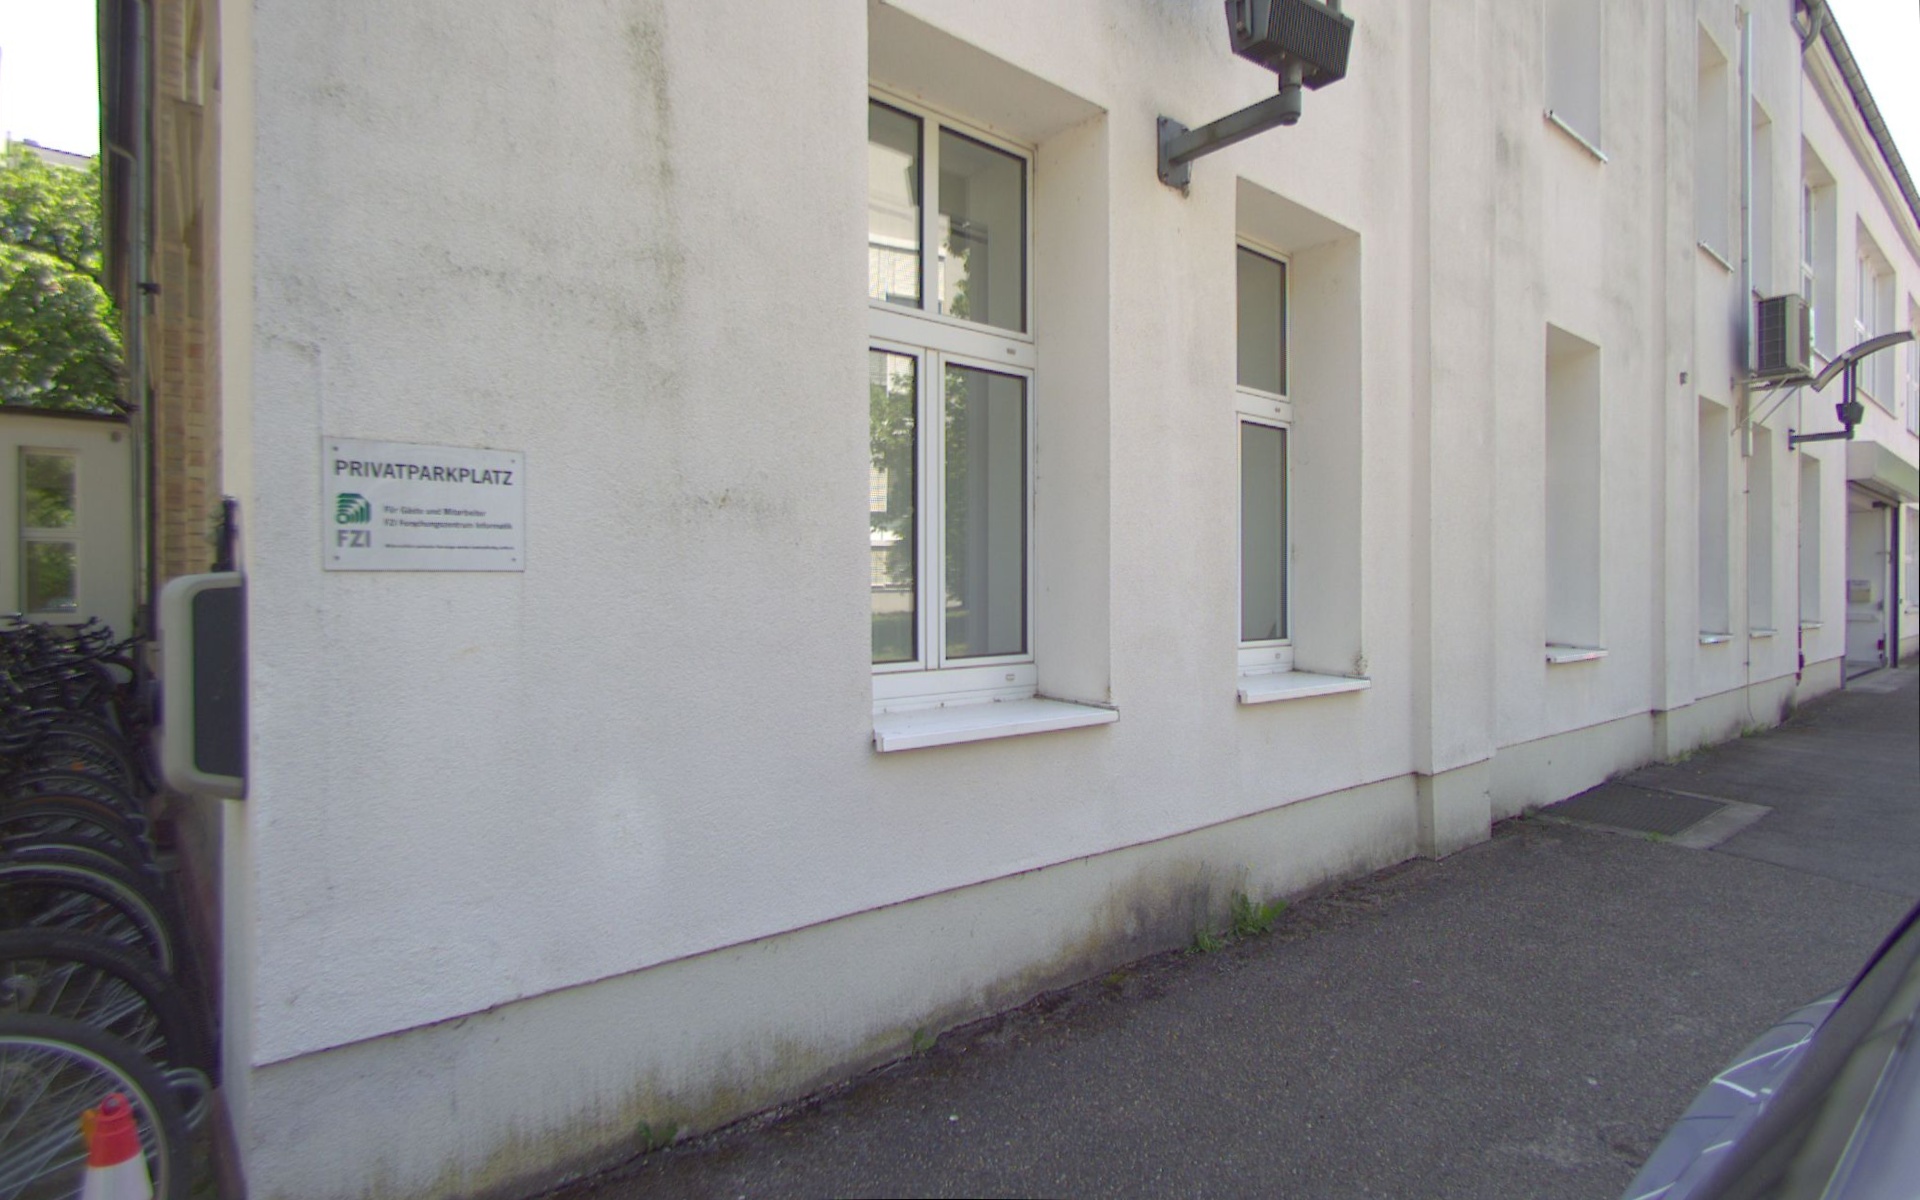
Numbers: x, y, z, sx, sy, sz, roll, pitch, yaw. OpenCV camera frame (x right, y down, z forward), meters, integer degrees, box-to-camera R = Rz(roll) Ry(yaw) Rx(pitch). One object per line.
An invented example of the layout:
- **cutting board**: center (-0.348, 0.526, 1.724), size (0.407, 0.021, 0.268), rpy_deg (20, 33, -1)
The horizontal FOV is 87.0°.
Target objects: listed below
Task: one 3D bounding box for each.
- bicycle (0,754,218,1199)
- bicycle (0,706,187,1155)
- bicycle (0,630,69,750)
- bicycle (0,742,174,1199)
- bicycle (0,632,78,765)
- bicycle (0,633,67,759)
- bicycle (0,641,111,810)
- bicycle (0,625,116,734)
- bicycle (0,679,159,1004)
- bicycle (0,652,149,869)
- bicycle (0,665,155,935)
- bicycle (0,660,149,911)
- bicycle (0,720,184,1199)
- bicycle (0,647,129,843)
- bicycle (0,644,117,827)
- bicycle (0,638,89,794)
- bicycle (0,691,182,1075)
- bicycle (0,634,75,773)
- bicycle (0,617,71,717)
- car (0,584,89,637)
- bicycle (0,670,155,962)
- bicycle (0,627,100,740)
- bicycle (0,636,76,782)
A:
- **bicycle**: center (-2.149, 0.905, 1.393), size (1.794, 1.115, 0.405), rpy_deg (-2, 1, -40)
- **bicycle**: center (-3.053, 0.919, 2.496), size (1.794, 1.115, 0.405), rpy_deg (-2, 1, -40)
- **bicycle**: center (-9.687, 0.893, 9.626), size (1.794, 1.115, 0.405), rpy_deg (-2, 1, -40)
- **bicycle**: center (-2.487, 0.926, 1.722), size (1.794, 1.115, 0.405), rpy_deg (-2, 1, -40)
- **bicycle**: center (-8.717, 0.876, 8.619), size (1.794, 1.115, 0.405), rpy_deg (-2, 1, -40)
- **bicycle**: center (-9.197, 0.898, 9.041), size (1.794, 1.115, 0.405), rpy_deg (-2, 1, -40)
- **bicycle**: center (-6.956, 0.886, 6.878), size (1.794, 1.115, 0.405), rpy_deg (-2, 1, -40)
- **bicycle**: center (-10.400, 0.874, 11.058), size (1.794, 1.115, 0.405), rpy_deg (-2, 1, -40)
- **bicycle**: center (-3.943, 0.911, 3.514), size (1.794, 1.115, 0.405), rpy_deg (-2, 1, -40)
- **bicycle**: center (-5.499, 0.894, 5.411), size (1.794, 1.115, 0.405), rpy_deg (-2, 1, -40)
- **bicycle**: center (-4.583, 0.904, 4.303), size (1.794, 1.115, 0.405), rpy_deg (-2, 1, -40)
- **bicycle**: center (-4.884, 0.901, 4.639), size (1.794, 1.115, 0.405), rpy_deg (-2, 1, -40)
- **bicycle**: center (-2.791, 0.922, 2.142), size (1.794, 1.115, 0.405), rpy_deg (-2, 1, -40)
- **bicycle**: center (-6.060, 0.891, 5.952), size (1.794, 1.115, 0.405), rpy_deg (-2, 1, -40)
- **bicycle**: center (-6.471, 0.889, 6.355), size (1.794, 1.115, 0.405), rpy_deg (-2, 1, -40)
- **bicycle**: center (-7.546, 0.884, 7.377), size (1.794, 1.115, 0.405), rpy_deg (-2, 1, -40)
- **bicycle**: center (-3.436, 0.914, 2.972), size (1.794, 1.115, 0.405), rpy_deg (-2, 1, -40)
- **bicycle**: center (-8.391, 0.879, 8.210), size (1.794, 1.115, 0.405), rpy_deg (-2, 1, -40)
- **bicycle**: center (-11.641, 0.833, 11.833), size (1.795, 1.115, 0.405), rpy_deg (-5, 3, -40)
- **car**: center (-25.758, 0.284, 26.981), size (1.635, 1.359, 3.504), rpy_deg (0, 1, 23)
- **bicycle**: center (-4.308, 0.907, 3.957), size (1.794, 1.115, 0.405), rpy_deg (-2, 1, -40)
- **bicycle**: center (-10.100, 0.882, 10.477), size (1.794, 1.115, 0.405), rpy_deg (-2, 1, -40)
- **bicycle**: center (-8.031, 0.882, 7.812), size (1.794, 1.115, 0.405), rpy_deg (-2, 1, -40)
